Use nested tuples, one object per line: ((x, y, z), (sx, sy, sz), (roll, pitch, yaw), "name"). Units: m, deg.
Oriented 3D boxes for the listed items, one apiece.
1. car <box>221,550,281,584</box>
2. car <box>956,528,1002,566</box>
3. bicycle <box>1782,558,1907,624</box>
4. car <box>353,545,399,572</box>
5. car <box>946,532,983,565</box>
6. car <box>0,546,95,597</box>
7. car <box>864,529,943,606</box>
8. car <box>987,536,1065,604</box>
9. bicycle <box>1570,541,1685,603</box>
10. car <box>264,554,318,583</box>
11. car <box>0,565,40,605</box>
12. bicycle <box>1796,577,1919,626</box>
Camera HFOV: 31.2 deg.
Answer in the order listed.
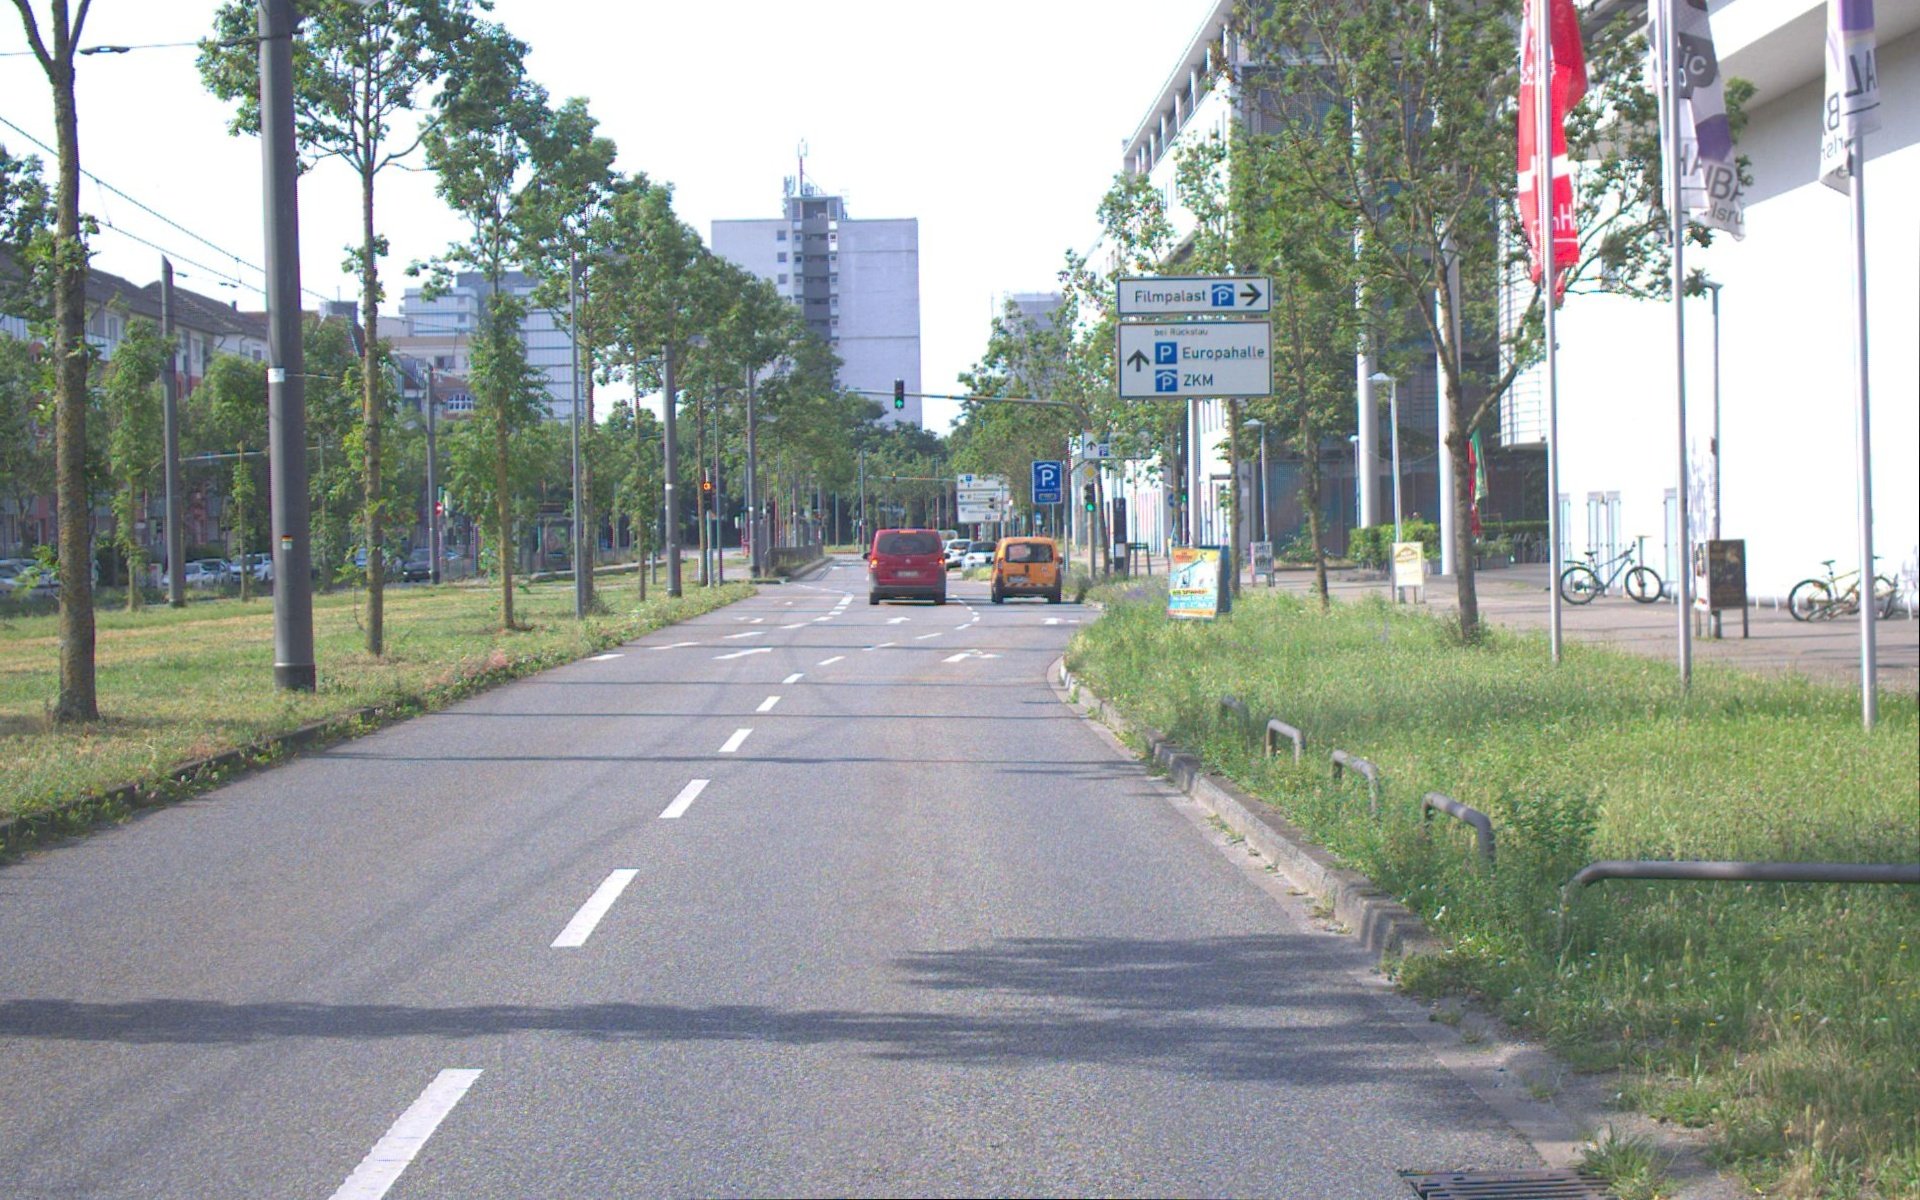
((-32.909, -1.540, 159.625), (1.980, 1.551, 4.537), (1, 1, -2), "car")
((0.790, -2.224, 142.655), (1.720, 1.514, 3.782), (-1, 1, -2), "car")
((12.634, -0.135, 49.115), (1.657, 0.912, 0.482), (-1, 1, 0), "bicycle")
((-33.165, -2.355, 195.341), (1.980, 1.508, 4.281), (1, 1, -2), "car")
((0.222, -2.535, 168.869), (1.689, 1.521, 3.851), (-3, 1, -1), "car")
((-29.038, -0.882, 106.364), (4.459, 1.509, 1.996), (0, 2, 36), "car")
((-1.431, -0.819, 85.494), (1.874, 1.847, 4.000), (-1, 1, -2), "car")
((1.683, -0.785, 88.521), (1.875, 1.690, 3.974), (-1, 1, 0), "car")
((12.330, -0.523, 63.540), (2.009, 1.099, 0.675), (-1, 1, 4), "bicycle")
((-32.903, -1.547, 169.171), (1.980, 1.356, 4.070), (1, 1, -2), "car")
((-29.871, -0.485, 104.063), (3.996, 1.174, 1.995), (1, 1, 40), "car")
((12.665, 0.022, 48.368), (1.657, 0.643, 0.538), (-1, 1, 0), "bicycle")
